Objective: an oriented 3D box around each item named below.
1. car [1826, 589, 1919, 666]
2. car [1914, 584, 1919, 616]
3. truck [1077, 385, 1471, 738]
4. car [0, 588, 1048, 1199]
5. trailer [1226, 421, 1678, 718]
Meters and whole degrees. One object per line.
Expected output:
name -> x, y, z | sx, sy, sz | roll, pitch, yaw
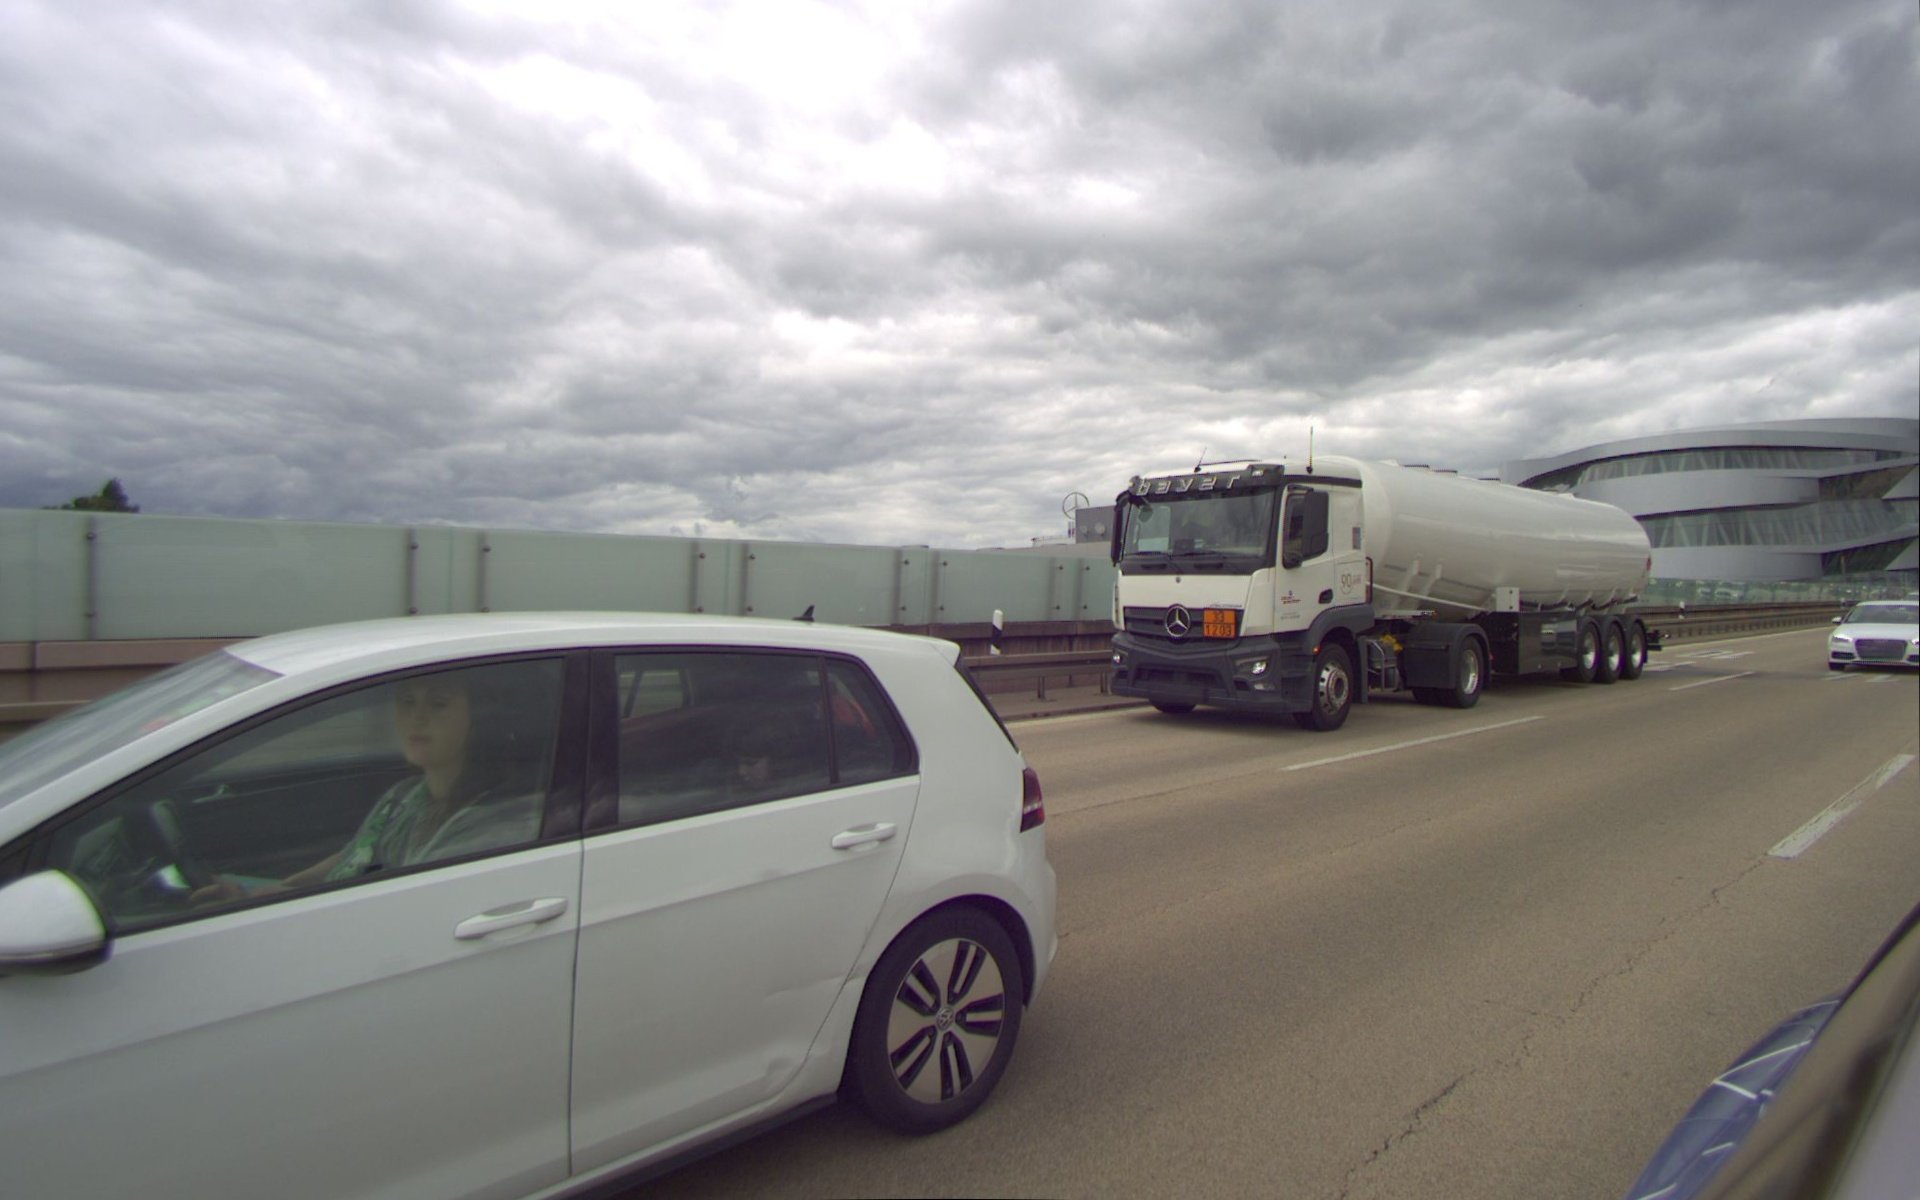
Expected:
car -> 19.546, 0.515, 20.876 | 3.861, 1.470, 1.848 | 0, 0, -38
car -> 51.500, -0.016, 53.032 | 3.563, 1.654, 1.784 | -1, 1, -40
truck -> 4.081, -0.407, 12.803 | 4.818, 3.558, 2.635 | 0, 0, -41
car -> -1.812, 0.716, 2.312 | 4.002, 1.470, 1.757 | 0, 1, -42
trailer -> 8.766, -0.447, 16.842 | 11.024, 3.588, 2.655 | -1, 1, -41
